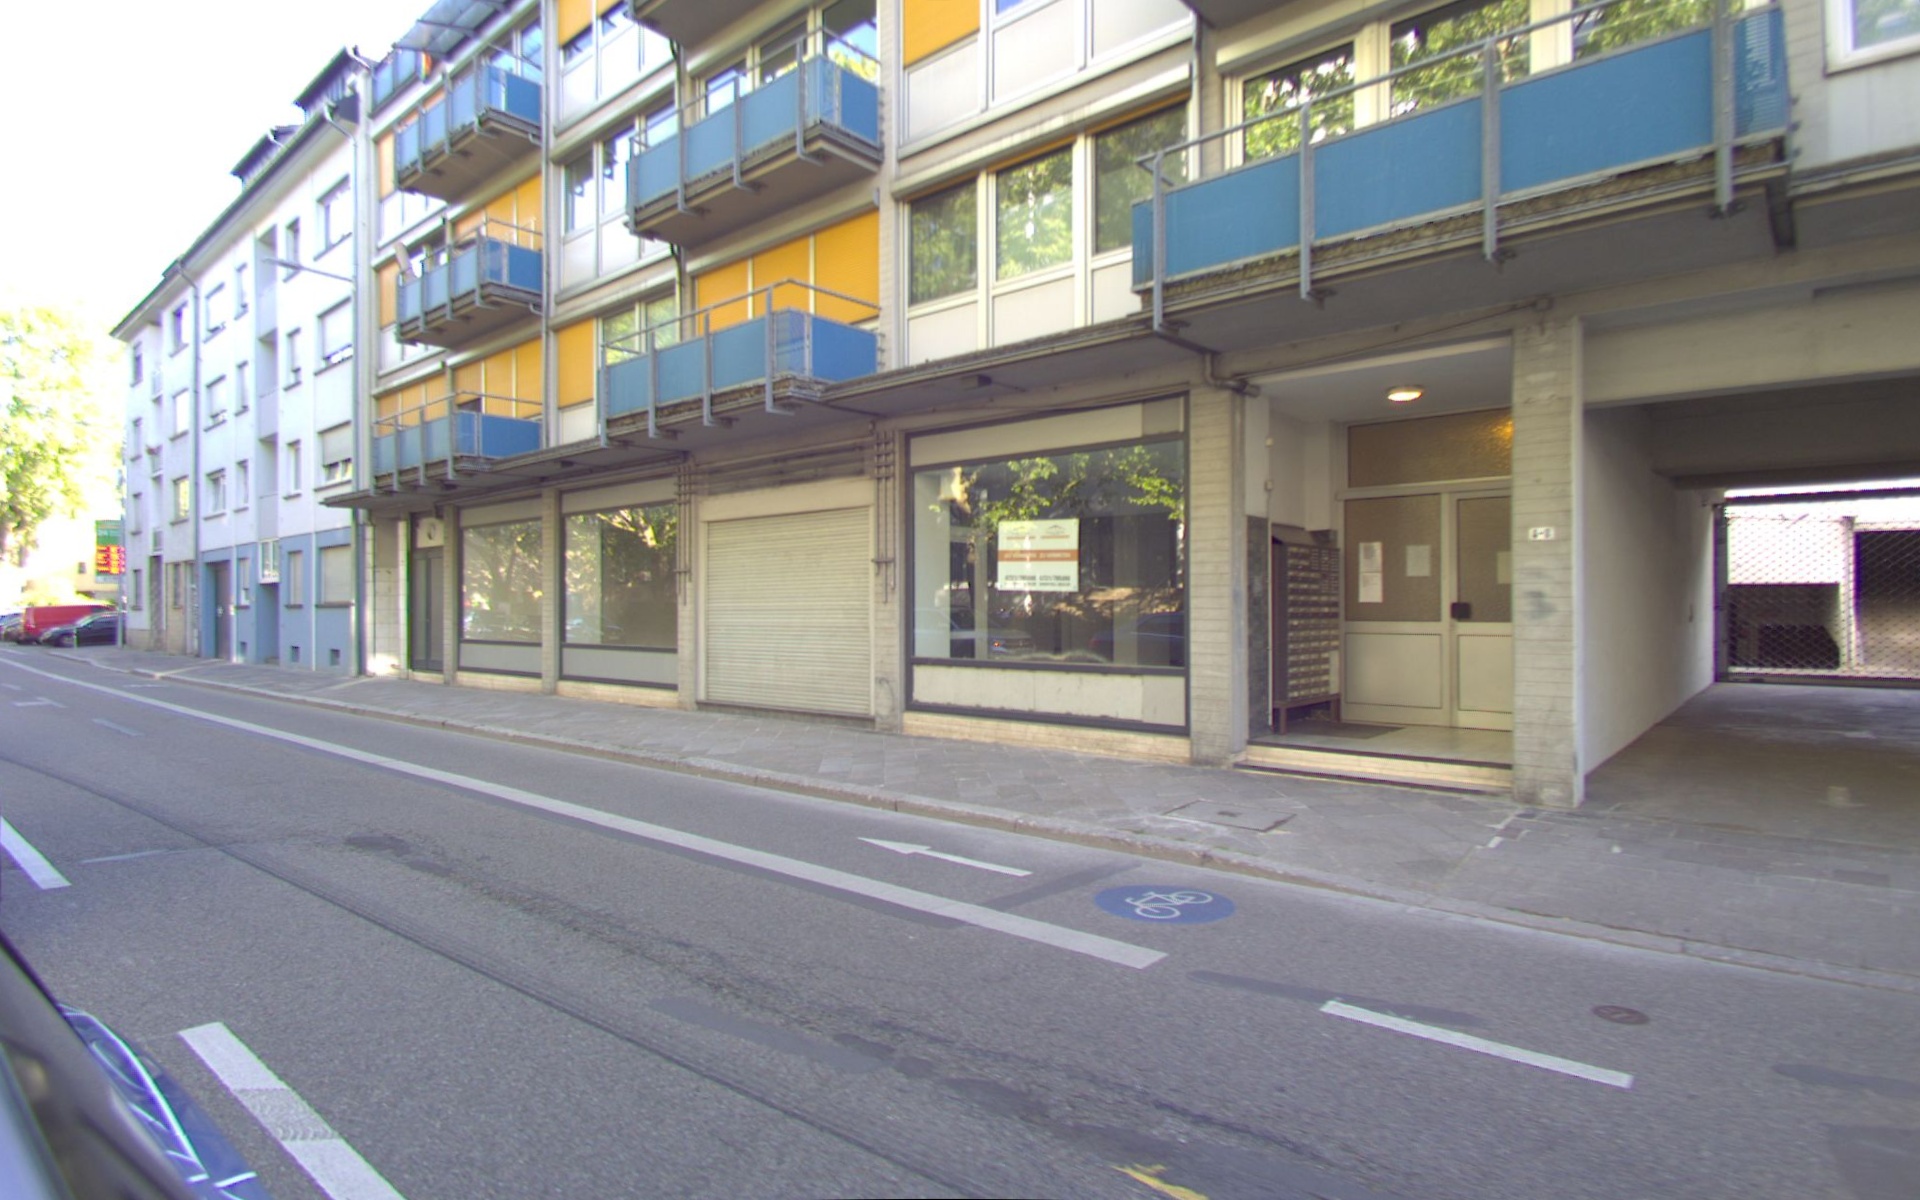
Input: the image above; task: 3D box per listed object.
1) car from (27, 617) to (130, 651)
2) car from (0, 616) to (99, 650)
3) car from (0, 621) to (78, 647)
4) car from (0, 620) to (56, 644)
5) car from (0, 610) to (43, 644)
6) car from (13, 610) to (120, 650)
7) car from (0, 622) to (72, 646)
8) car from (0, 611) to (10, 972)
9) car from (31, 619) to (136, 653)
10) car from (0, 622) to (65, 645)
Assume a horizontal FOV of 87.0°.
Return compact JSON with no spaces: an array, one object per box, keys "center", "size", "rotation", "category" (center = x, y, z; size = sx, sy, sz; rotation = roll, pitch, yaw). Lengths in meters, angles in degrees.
[{"center":[-42.545,1.600,48.889],"size":[1.602,1.521,3.620],"rotation":[-1,0,42],"category":"car"},{"center":[-47.088,1.668,52.242],"size":[1.603,1.598,3.855],"rotation":[-1,0,42],"category":"car"},{"center":[-54.403,1.983,59.394],"size":[1.594,1.385,3.855],"rotation":[-1,0,42],"category":"car"},{"center":[-60.258,2.040,64.588],"size":[1.539,1.451,3.733],"rotation":[-1,0,42],"category":"car"},{"center":[-63.758,1.809,67.416],"size":[1.725,2.193,3.855],"rotation":[-1,0,42],"category":"car"},{"center":[-44.739,1.459,50.705],"size":[1.749,1.921,3.854],"rotation":[-1,-1,42],"category":"car"},{"center":[-56.420,2.038,61.272],"size":[1.525,1.343,3.855],"rotation":[-1,0,42],"category":"car"},{"center":[-6.235,0.828,4.974],"size":[4.291,1.515,1.805],"rotation":[-1,0,40],"category":"car"},{"center":[-40.826,1.651,47.194],"size":[1.534,1.420,3.551],"rotation":[-2,-1,42],"category":"car"},{"center":[-58.228,2.057,62.832],"size":[1.525,1.343,3.855],"rotation":[-1,0,42],"category":"car"}]
